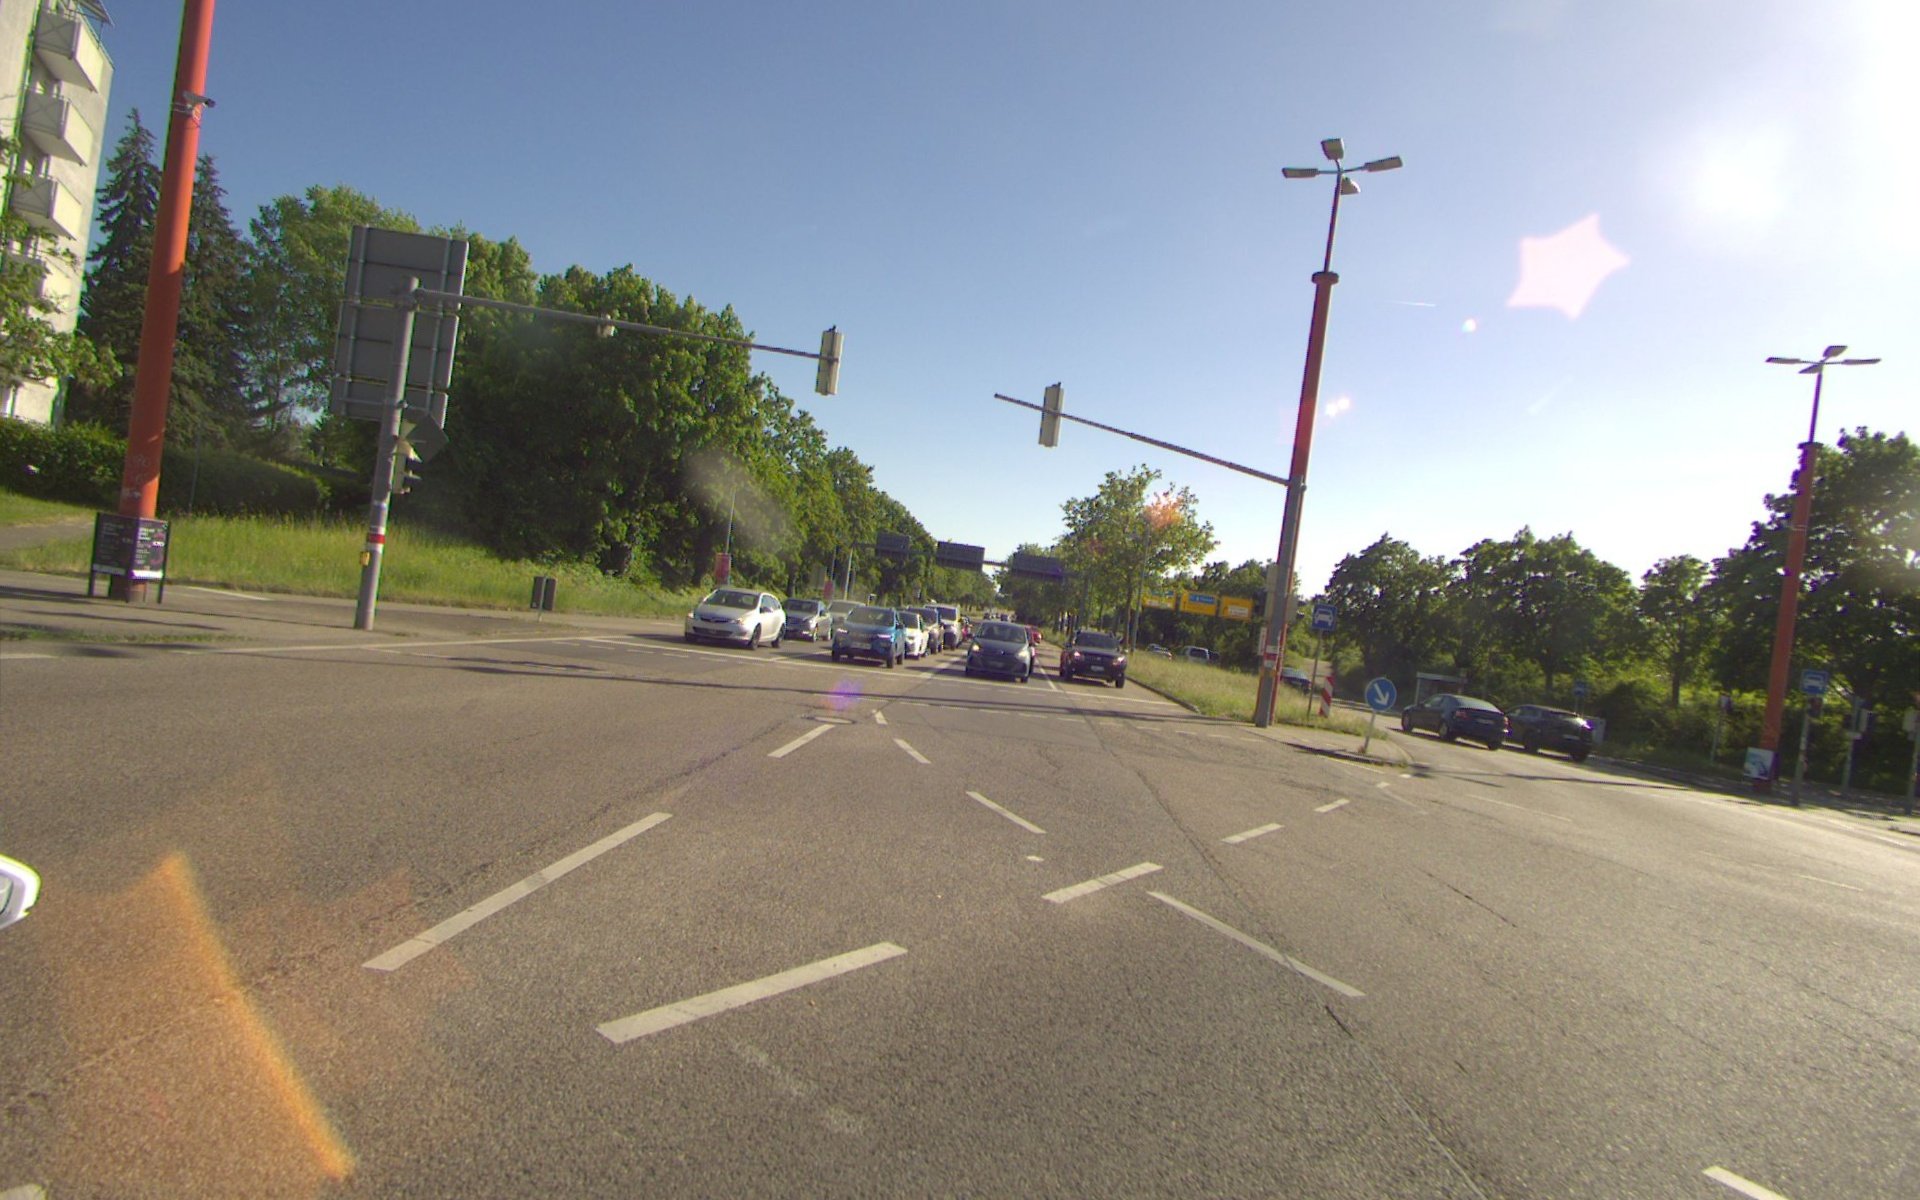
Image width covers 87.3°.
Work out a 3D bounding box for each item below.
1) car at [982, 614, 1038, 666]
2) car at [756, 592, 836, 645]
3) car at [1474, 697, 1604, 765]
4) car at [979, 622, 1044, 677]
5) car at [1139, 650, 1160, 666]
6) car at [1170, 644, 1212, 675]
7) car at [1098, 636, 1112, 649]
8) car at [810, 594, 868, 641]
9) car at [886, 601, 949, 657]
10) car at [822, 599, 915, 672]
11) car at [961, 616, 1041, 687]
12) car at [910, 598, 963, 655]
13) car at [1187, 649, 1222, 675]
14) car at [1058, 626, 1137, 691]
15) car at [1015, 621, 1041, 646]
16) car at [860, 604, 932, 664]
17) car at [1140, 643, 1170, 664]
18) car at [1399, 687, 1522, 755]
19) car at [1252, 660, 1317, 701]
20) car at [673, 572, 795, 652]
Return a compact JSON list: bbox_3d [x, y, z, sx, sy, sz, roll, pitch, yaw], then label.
[{"bbox_3d":[1.955,1.566,39.571,1.872,1.648,4.003,9,-1,3],"label":"car"},{"bbox_3d":[-5.702,0.666,35.454,1.856,1.531,4.002,7,-1,3],"label":"car"},{"bbox_3d":[18.968,4.247,33.194,1.741,1.525,4.228,10,-1,3],"label":"car"},{"bbox_3d":[1.648,1.598,33.578,1.846,1.571,4.001,5,-1,0],"label":"car"},{"bbox_3d":[22.710,6.956,120.715,1.690,1.626,3.849,10,-1,2],"label":"car"},{"bbox_3d":[16.818,4.303,73.525,1.777,1.842,4.589,9,-1,1],"label":"car"},{"bbox_3d":[26.238,7.688,182.464,1.902,1.868,3.962,8,-1,2],"label":"car"},{"bbox_3d":[-4.993,0.791,41.968,1.751,1.671,3.977,6,-2,0],"label":"car"},{"bbox_3d":[-1.588,1.115,38.827,1.845,1.805,4.002,8,-1,3],"label":"car"},{"bbox_3d":[-2.291,0.904,26.199,1.773,1.533,3.860,7,-1,2],"label":"car"},{"bbox_3d":[1.083,1.332,27.254,1.845,1.569,4.028,7,-1,1],"label":"car"},{"bbox_3d":[-0.988,1.205,45.873,1.931,2.180,5.083,8,-1,1],"label":"car"},{"bbox_3d":[21.494,5.436,88.673,1.776,1.874,5.105,8,-1,3],"label":"car"},{"bbox_3d":[4.177,1.747,31.236,1.766,1.646,4.144,7,-1,1],"label":"car"},{"bbox_3d":[6.104,3.006,90.932,1.886,1.868,3.961,8,-1,0],"label":"car"},{"bbox_3d":[-1.976,1.075,32.343,1.872,1.573,4.001,7,-1,0],"label":"car"},{"bbox_3d":[17.742,4.858,91.777,1.777,1.510,4.685,10,-1,3],"label":"car"},{"bbox_3d":[15.258,3.656,30.919,1.692,1.436,4.051,9,-1,2],"label":"car"},{"bbox_3d":[15.884,3.914,49.455,1.687,1.471,4.198,8,-1,0],"label":"car"},{"bbox_3d":[-5.717,0.362,26.025,1.848,1.671,4.222,7,-1,3],"label":"car"}]
